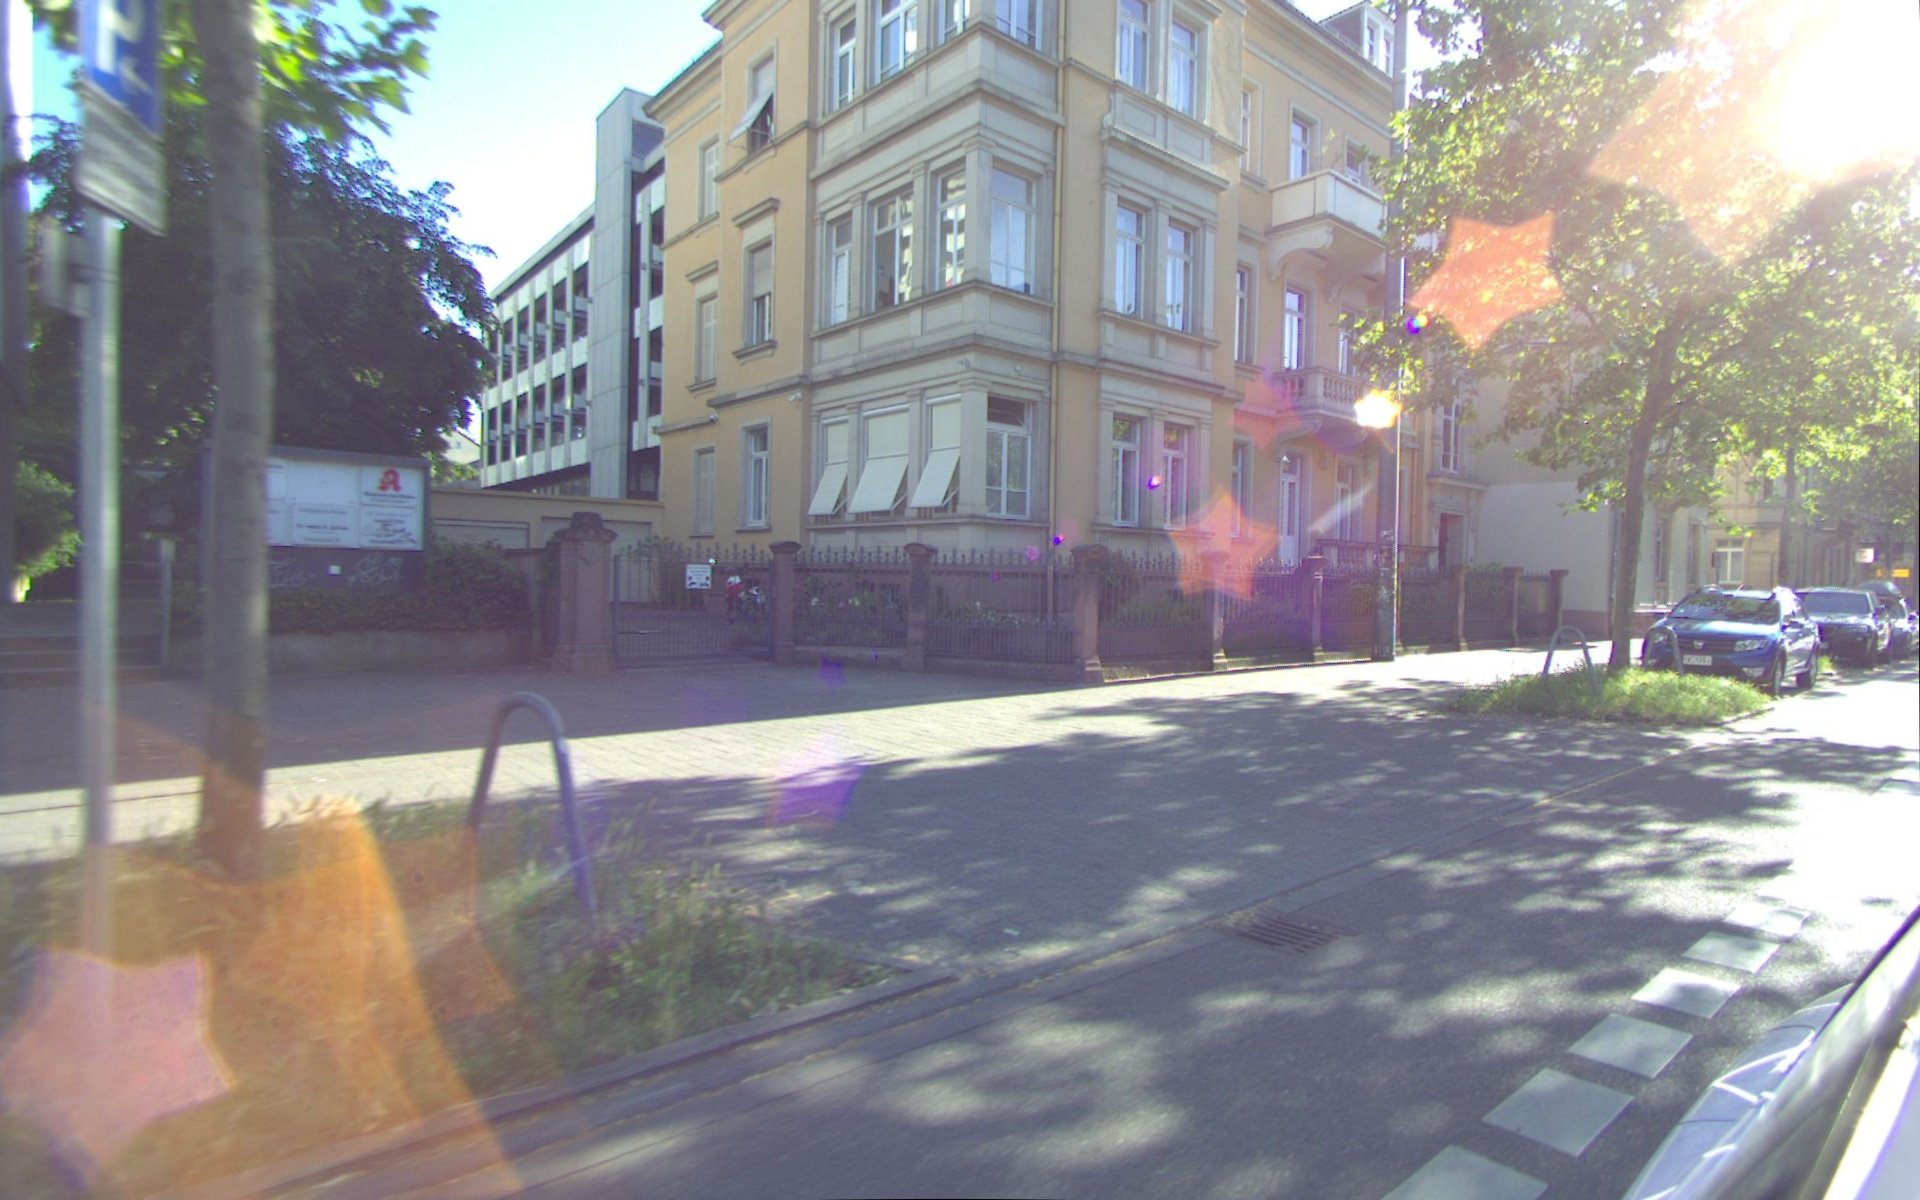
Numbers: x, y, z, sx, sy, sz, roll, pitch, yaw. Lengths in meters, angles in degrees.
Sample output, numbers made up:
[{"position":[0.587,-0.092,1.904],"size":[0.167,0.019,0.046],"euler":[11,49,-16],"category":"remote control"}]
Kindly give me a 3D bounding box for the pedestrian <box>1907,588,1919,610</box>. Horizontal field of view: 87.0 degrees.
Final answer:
[{"position":[53.182,-0.056,56.330],"size":[0.644,1.176,0.602],"euler":[0,-1,39],"category":"pedestrian"}]

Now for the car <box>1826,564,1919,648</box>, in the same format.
[{"position":[24.173,0.130,26.343],"size":[4.654,1.989,1.758],"euler":[0,1,-41],"category":"car"}]

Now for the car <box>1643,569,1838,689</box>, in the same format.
[{"position":[12.613,0.414,16.279],"size":[3.968,1.679,1.695],"euler":[1,1,-41],"category":"car"}]

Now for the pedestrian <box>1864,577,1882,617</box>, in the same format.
[{"position":[42.172,-0.134,46.747],"size":[0.943,1.850,0.564],"euler":[1,-1,-44],"category":"pedestrian"}]

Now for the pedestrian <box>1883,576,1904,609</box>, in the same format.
[{"position":[52.043,-0.413,56.438],"size":[0.758,1.833,0.470],"euler":[0,-1,-8],"category":"pedestrian"}]

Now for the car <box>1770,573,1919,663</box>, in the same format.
[{"position":[19.355,0.320,22.036],"size":[4.654,1.721,1.802],"euler":[-1,3,-41],"category":"car"}]

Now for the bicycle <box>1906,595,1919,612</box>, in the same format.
[{"position":[56.678,0.234,60.199],"size":[1.659,1.006,0.443],"euler":[1,-1,-42],"category":"bicycle"}]
